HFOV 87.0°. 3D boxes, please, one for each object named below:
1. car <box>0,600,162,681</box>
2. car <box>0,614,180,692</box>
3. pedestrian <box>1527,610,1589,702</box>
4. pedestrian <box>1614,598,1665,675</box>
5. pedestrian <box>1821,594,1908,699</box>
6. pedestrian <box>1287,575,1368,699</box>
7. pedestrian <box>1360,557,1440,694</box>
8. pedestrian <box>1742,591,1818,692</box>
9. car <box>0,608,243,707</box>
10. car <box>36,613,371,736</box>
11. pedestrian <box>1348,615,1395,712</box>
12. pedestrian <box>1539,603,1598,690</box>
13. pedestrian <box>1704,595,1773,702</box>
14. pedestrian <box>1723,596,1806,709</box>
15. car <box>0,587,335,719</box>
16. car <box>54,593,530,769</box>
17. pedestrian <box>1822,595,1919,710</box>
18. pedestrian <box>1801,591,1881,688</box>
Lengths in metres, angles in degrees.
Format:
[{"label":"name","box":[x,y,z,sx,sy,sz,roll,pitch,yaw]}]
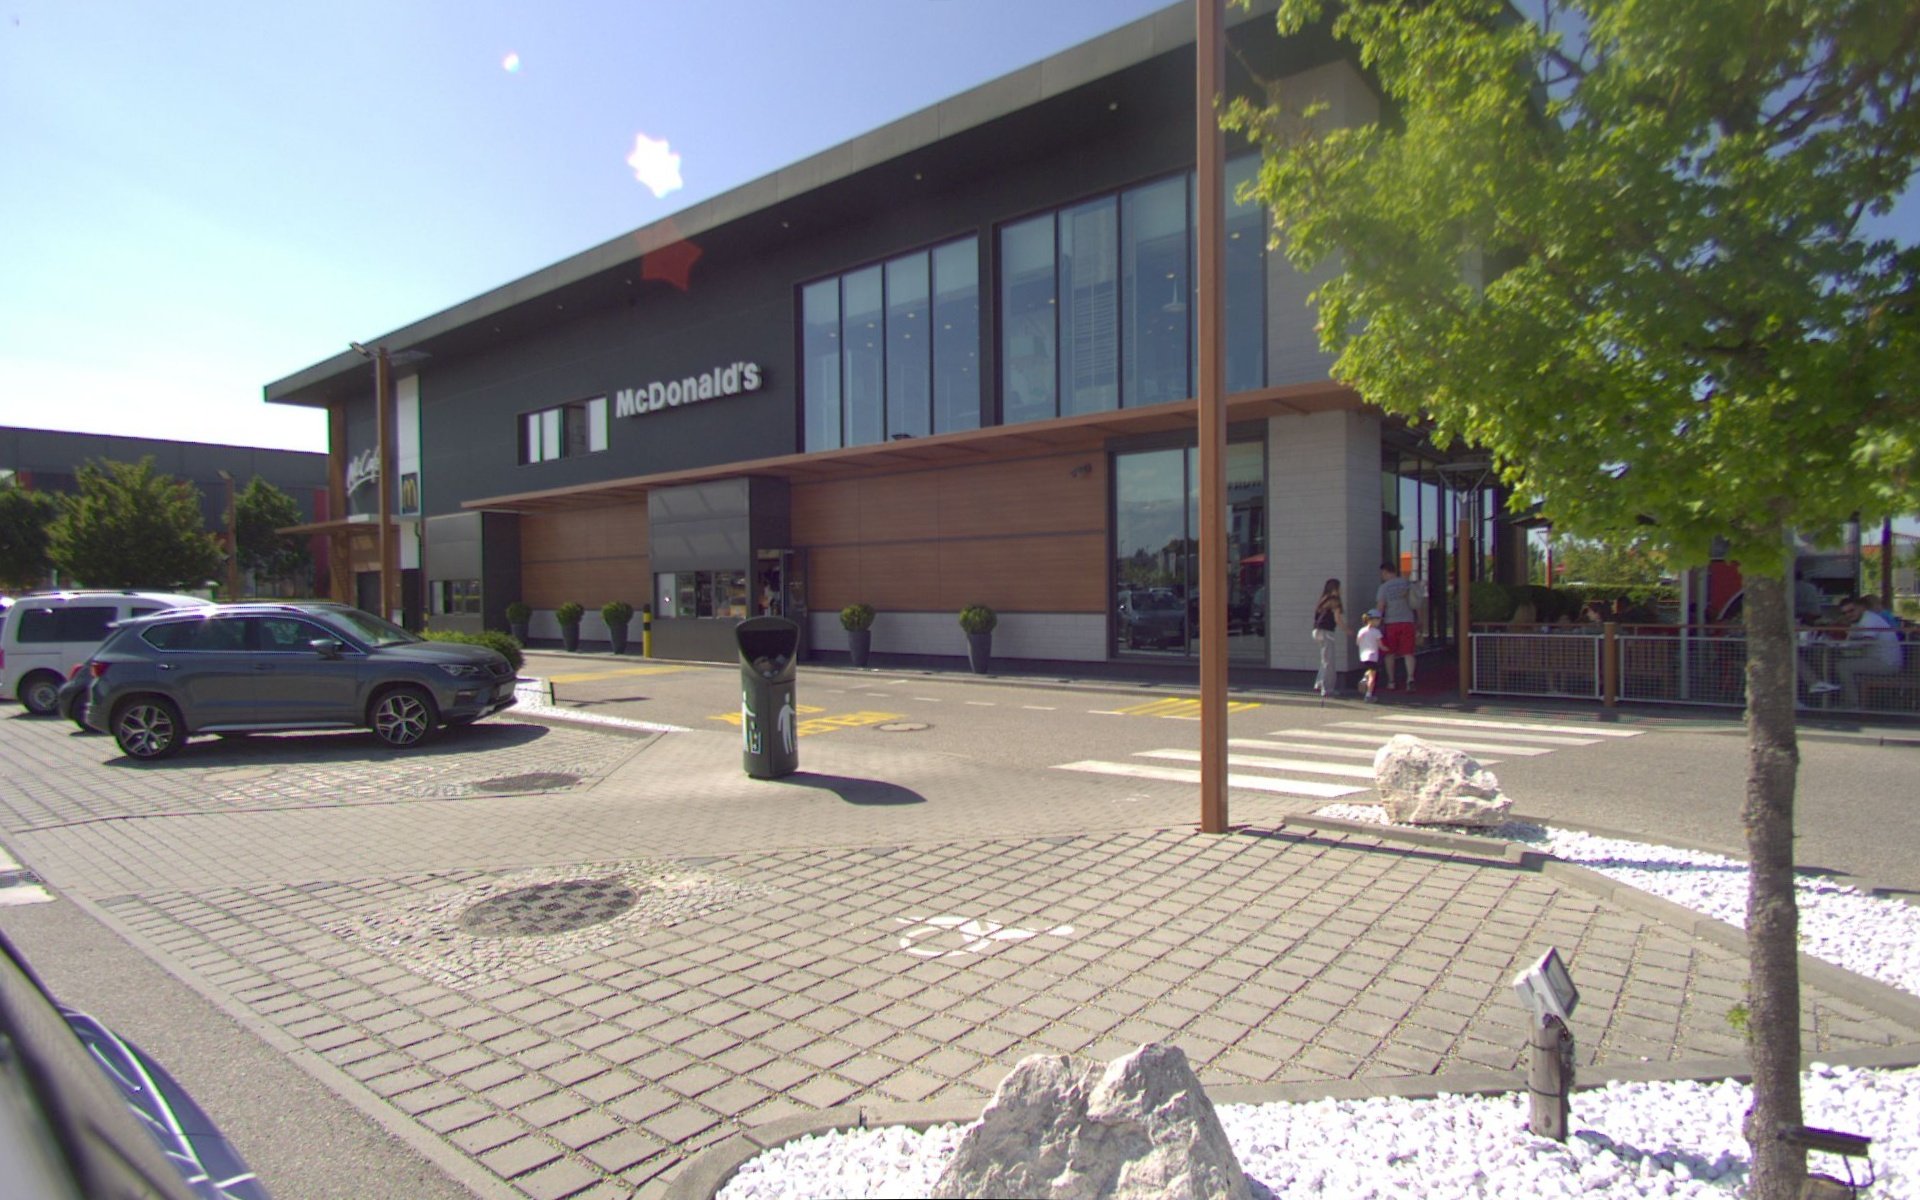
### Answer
[{"label":"car","box":[-20.965,0.899,23.165,3.970,1.718,1.680,-1,1,-29]},{"label":"car","box":[-18.542,1.064,20.740,3.707,1.455,1.680,-1,0,-22]},{"label":"pedestrian","box":[7.659,0.701,12.962,0.633,1.132,0.518,-1,0,35]},{"label":"pedestrian","box":[10.077,0.528,14.996,0.572,1.109,0.648,-1,0,38]},{"label":"pedestrian","box":[11.291,0.568,12.655,0.728,1.267,0.566,-1,0,34]},{"label":"pedestrian","box":[4.904,0.476,13.516,0.717,1.596,0.742,0,-1,-41]},{"label":"pedestrian","box":[6.011,0.338,13.806,0.893,1.781,0.795,-1,0,31]},{"label":"pedestrian","box":[10.619,0.520,13.123,0.714,1.267,0.518,-1,0,35]},{"label":"car","box":[-15.646,0.996,18.500,3.779,1.644,1.763,-1,0,-17]},{"label":"car","box":[-10.281,0.964,14.006,3.358,1.493,1.572,-1,0,-12]},{"label":"pedestrian","box":[5.231,0.796,12.858,0.447,1.195,0.486,-1,0,33]},{"label":"pedestrian","box":[8.179,0.611,13.597,0.633,1.132,0.518,-1,0,35]},{"label":"pedestrian","box":[9.557,0.577,12.438,0.633,1.267,0.518,-1,0,35]},{"label":"pedestrian","box":[9.417,0.598,11.866,0.714,1.267,0.518,-1,0,35]},{"label":"car","box":[-12.649,0.791,16.276,4.077,1.936,1.762,-1,0,-11]},{"label":"car","box":[-7.438,0.839,11.671,4.162,1.615,1.794,-3,2,-6]},{"label":"pedestrian","box":[10.360,0.581,11.542,0.728,1.267,0.566,-1,0,34]},{"label":"pedestrian","box":[11.839,0.514,13.620,0.728,1.267,0.566,-1,0,34]}]
